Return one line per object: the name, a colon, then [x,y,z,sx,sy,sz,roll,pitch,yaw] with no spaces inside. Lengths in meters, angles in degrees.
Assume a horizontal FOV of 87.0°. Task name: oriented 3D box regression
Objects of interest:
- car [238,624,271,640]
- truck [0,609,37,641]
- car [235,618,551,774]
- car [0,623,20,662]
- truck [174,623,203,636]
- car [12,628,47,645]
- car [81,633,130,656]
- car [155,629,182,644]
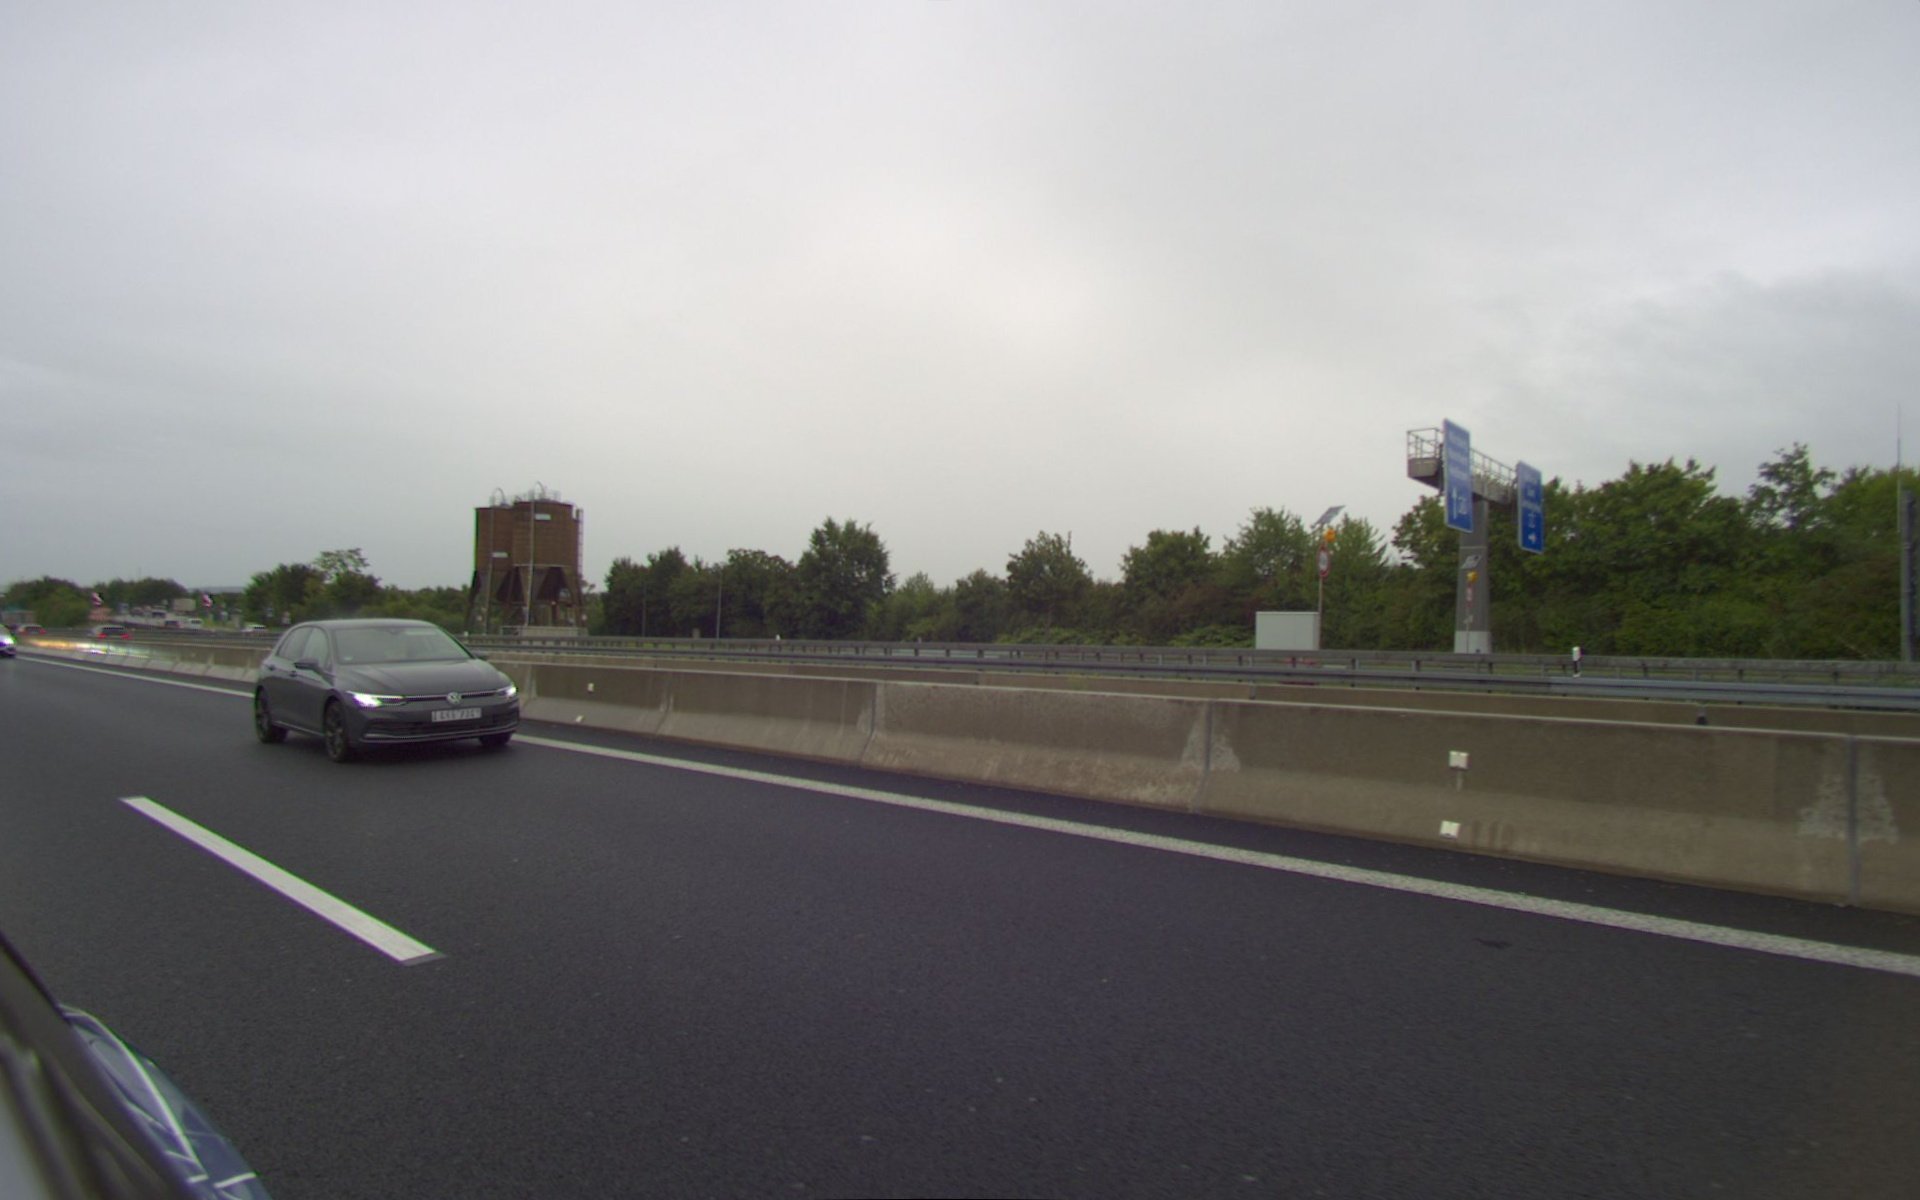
car: [-77.774,3.550,111.557,4.503,1.775,1.972,-2,-2,41]
truck: [-118.552,3.074,126.837,11.905,3.738,2.937,-1,0,42]
car: [-6.643,0.955,11.644,4.365,1.436,1.811,-1,-1,41]
car: [-41.014,1.776,42.466,4.816,1.603,1.972,-2,-1,43]
truck: [-106.781,4.098,140.080,5.401,1.657,1.974,-1,0,40]
car: [-81.174,3.170,88.287,3.998,1.519,1.779,-1,-2,41]
car: [-54.246,2.804,64.229,4.445,1.402,1.836,-2,-2,43]
car: [-100.440,4.666,128.465,4.459,1.822,1.883,-1,-1,41]
